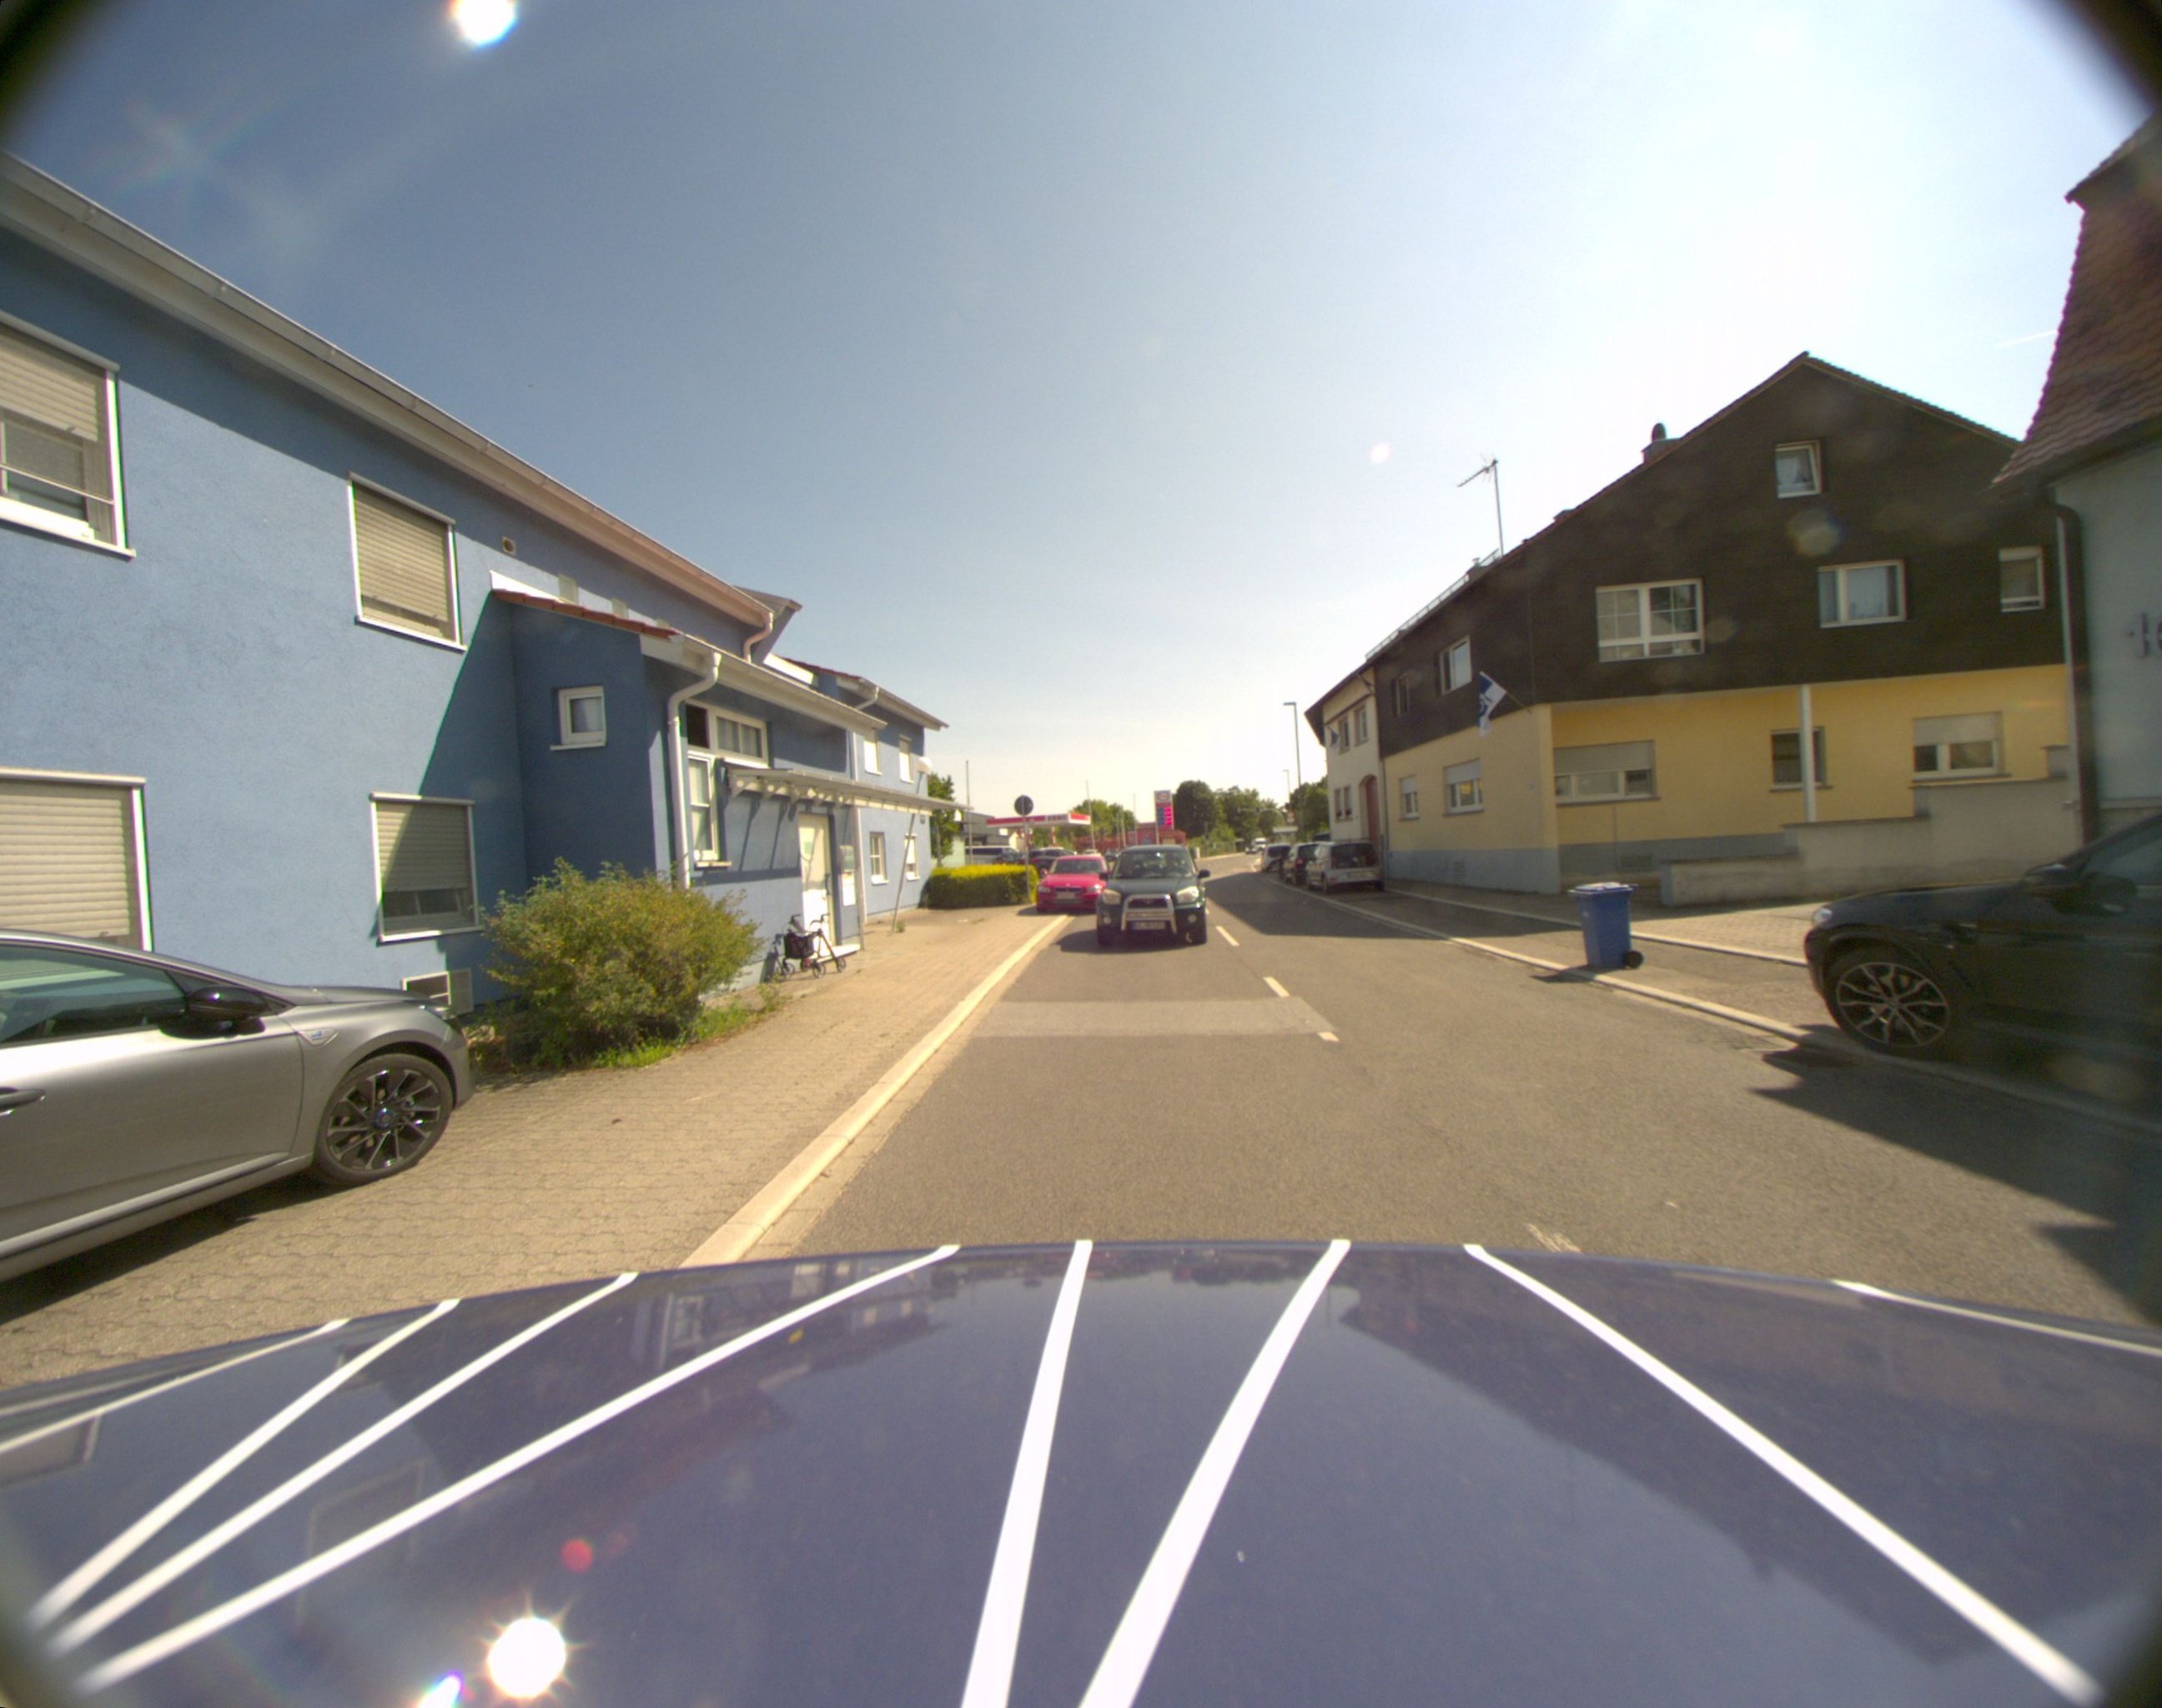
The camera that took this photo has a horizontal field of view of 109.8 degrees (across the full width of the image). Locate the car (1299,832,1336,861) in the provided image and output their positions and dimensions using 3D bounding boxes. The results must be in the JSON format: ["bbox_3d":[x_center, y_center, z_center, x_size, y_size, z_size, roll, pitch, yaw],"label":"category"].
[{"bbox_3d":[16.669,-0.585,53.387,1.839,1.782,4.349,-6,0,24],"label":"car"}]

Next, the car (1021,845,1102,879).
[{"bbox_3d":[-1.123,0.433,42.882,4.118,1.644,1.828,-3,1,-21],"label":"car"}]

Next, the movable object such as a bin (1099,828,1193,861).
[{"bbox_3d":[9.528,-1.386,111.604,13.272,4.141,2.866,-3,1,15],"label":"movable object such as a bin"}]

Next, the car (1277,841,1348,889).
[{"bbox_3d":[8.273,0.328,27.500,1.682,1.429,3.997,-6,0,7],"label":"car"}]

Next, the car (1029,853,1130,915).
[{"bbox_3d":[0.077,0.797,20.548,1.735,1.485,4.360,-1,-2,13],"label":"car"}]

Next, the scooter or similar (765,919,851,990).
[{"bbox_3d":[-3.645,1.337,10.188,0.729,0.810,0.828,-3,1,9],"label":"scooter or similar"}]

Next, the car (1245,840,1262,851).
[{"bbox_3d":[26.837,-1.302,117.892,1.843,1.583,4.111,-2,1,22],"label":"car"}]

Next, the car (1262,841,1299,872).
[{"bbox_3d":[10.495,0.096,40.166,1.686,1.453,3.652,-4,1,13],"label":"car"}]

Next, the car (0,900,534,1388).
[{"bbox_3d":[-4.360,1.065,2.555,1.693,1.412,4.146,-4,1,5],"label":"car"}]

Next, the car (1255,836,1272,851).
[{"bbox_3d":[31.017,-1.834,129.153,1.935,2.488,5.846,-2,1,22],"label":"car"}]

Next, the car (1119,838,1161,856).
[{"bbox_3d":[5.658,-0.649,73.363,1.777,1.546,4.171,-3,1,-36],"label":"car"}]

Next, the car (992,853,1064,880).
[{"bbox_3d":[-3.500,0.819,50.151,4.321,1.541,1.981,-3,1,-21],"label":"car"}]

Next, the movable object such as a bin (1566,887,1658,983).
[{"bbox_3d":[5.915,0.892,8.487,0.598,0.976,0.531,-4,1,3],"label":"movable object such as a bin"}]

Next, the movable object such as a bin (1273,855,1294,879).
[{"bbox_3d":[8.400,0.551,31.490,0.552,0.923,0.825,-7,0,1],"label":"movable object such as a bin"}]

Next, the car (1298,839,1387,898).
[{"bbox_3d":[7.723,0.377,22.762,1.644,1.492,3.783,-5,1,7],"label":"car"}]

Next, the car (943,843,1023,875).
[{"bbox_3d":[-6.877,0.331,53.070,5.287,2.002,2.229,-3,1,-11],"label":"car"}]

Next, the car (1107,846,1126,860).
[{"bbox_3d":[4.419,-0.102,94.282,1.844,1.583,4.108,-3,1,10],"label":"car"}]

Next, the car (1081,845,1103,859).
[{"bbox_3d":[1.431,-0.310,94.457,2.002,1.583,4.341,-3,1,10],"label":"car"}]

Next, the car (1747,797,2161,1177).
[{"bbox_3d":[5.849,0.576,3.274,1.924,1.658,4.665,-5,1,3],"label":"car"}]

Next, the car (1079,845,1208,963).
[{"bbox_3d":[1.241,0.756,13.417,1.847,1.686,4.401,-2,0,8],"label":"car"}]

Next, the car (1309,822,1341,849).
[{"bbox_3d":[21.167,-1.584,66.128,2.129,1.974,5.270,-8,0,15],"label":"car"}]

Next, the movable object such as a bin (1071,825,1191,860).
[{"bbox_3d":[6.775,-1.476,104.093,16.075,3.995,2.776,-3,1,15],"label":"movable object such as a bin"}]
